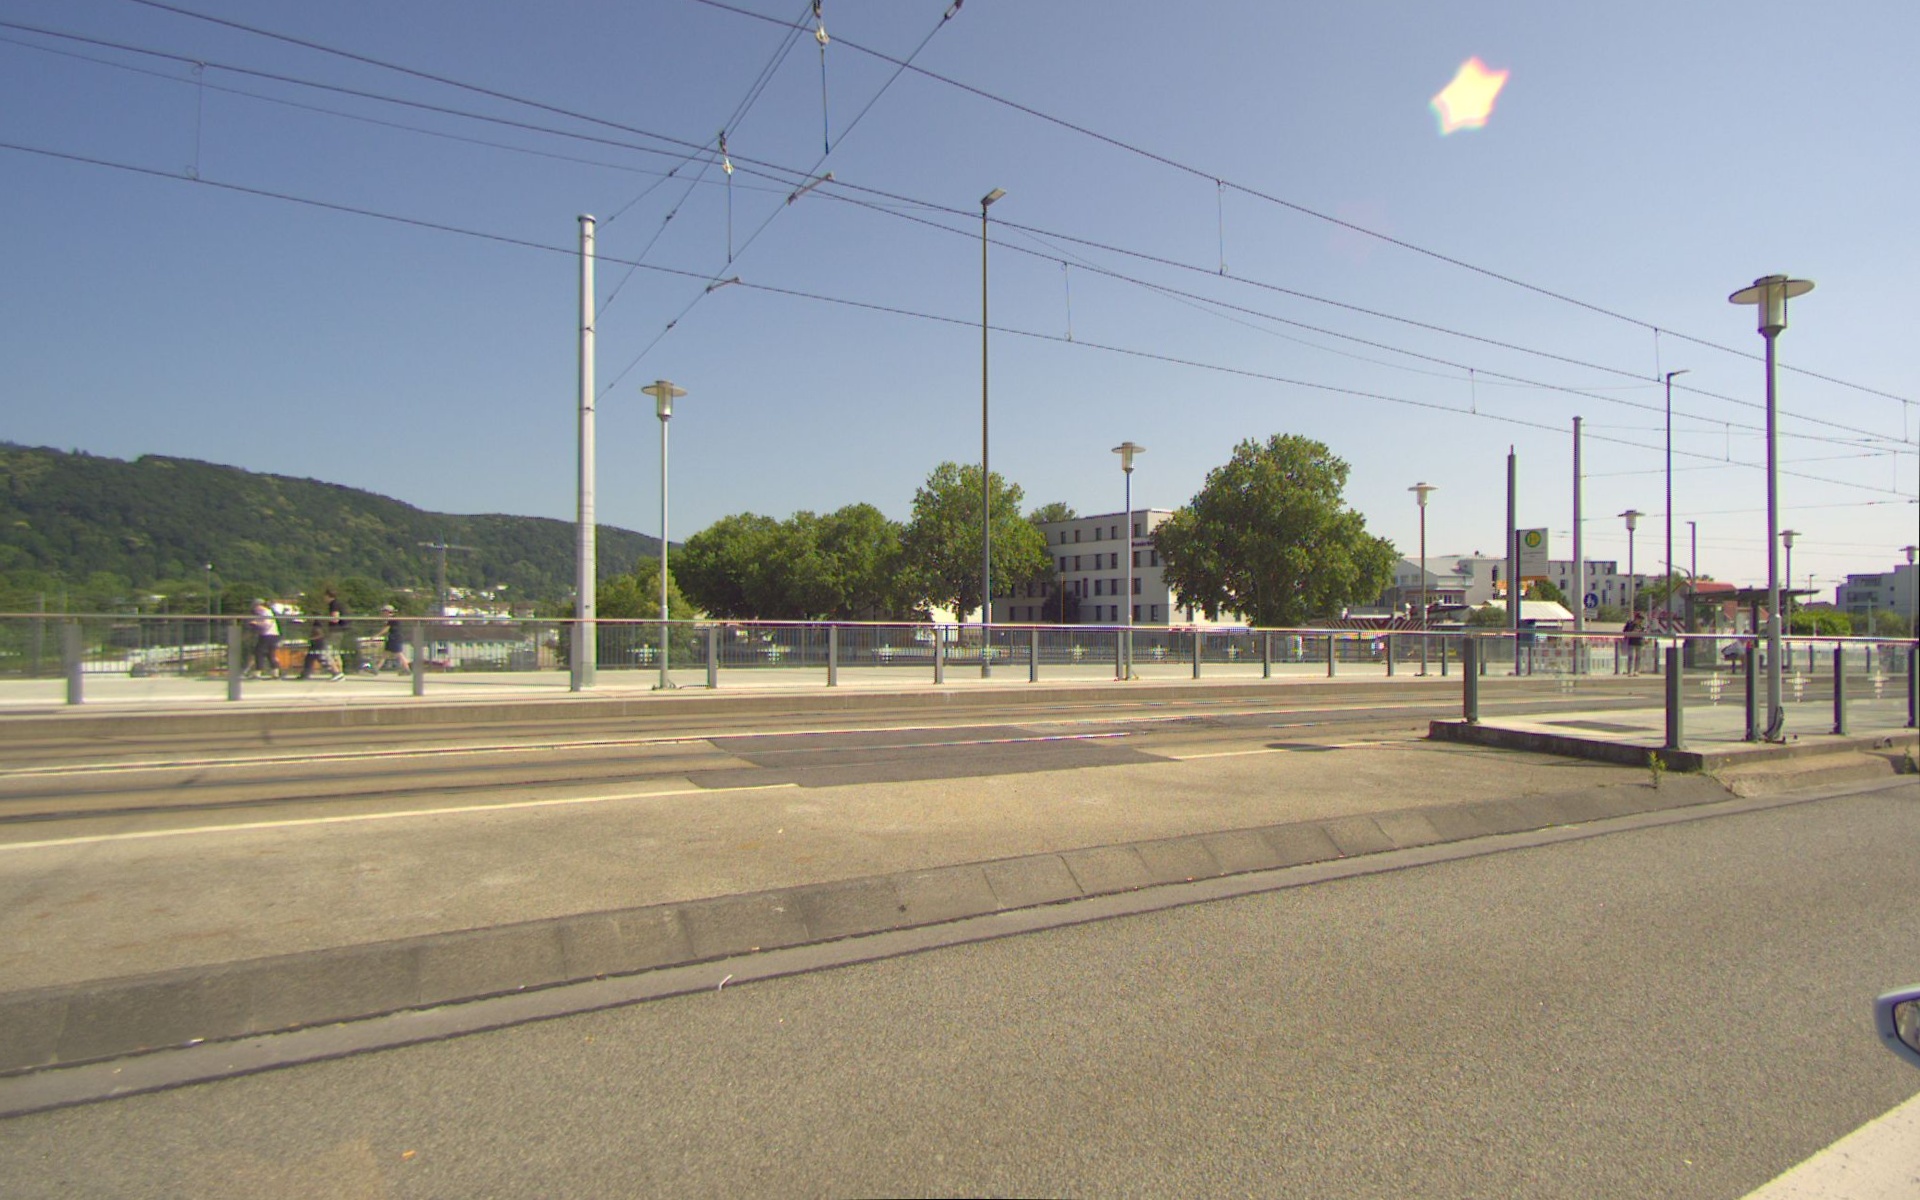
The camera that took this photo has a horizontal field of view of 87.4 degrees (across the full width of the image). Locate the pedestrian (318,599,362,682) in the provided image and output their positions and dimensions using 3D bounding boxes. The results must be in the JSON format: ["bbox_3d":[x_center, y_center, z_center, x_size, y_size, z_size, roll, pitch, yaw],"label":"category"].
[{"bbox_3d":[-12.984,0.837,21.041,0.723,1.709,0.749,0,-1,-29],"label":"pedestrian"}]

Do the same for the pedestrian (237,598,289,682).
[{"bbox_3d":[-14.595,0.826,21.052,0.807,1.709,0.595,0,-1,-29],"label":"pedestrian"}]

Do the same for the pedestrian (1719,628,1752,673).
[{"bbox_3d":[23.049,1.492,29.867,0.447,1.291,0.646,1,-1,-25],"label":"pedestrian"}]

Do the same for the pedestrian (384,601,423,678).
[{"bbox_3d":[-12.565,0.877,22.692,0.763,1.709,0.501,0,-1,-29],"label":"pedestrian"}]

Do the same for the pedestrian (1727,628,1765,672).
[{"bbox_3d":[23.568,1.496,30.121,0.688,1.291,0.646,1,-1,-26],"label":"pedestrian"}]

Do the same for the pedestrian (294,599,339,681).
[{"bbox_3d":[-13.705,0.845,21.405,0.761,1.709,0.382,0,-1,-29],"label":"pedestrian"}]

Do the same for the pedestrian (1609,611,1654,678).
[{"bbox_3d":[17.320,1.138,25.923,0.727,1.676,0.660,1,-1,-18],"label":"pedestrian"}]

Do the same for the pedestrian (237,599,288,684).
[{"bbox_3d":[-14.283,0.833,20.586,0.798,1.709,0.484,0,-1,-29],"label":"pedestrian"}]
